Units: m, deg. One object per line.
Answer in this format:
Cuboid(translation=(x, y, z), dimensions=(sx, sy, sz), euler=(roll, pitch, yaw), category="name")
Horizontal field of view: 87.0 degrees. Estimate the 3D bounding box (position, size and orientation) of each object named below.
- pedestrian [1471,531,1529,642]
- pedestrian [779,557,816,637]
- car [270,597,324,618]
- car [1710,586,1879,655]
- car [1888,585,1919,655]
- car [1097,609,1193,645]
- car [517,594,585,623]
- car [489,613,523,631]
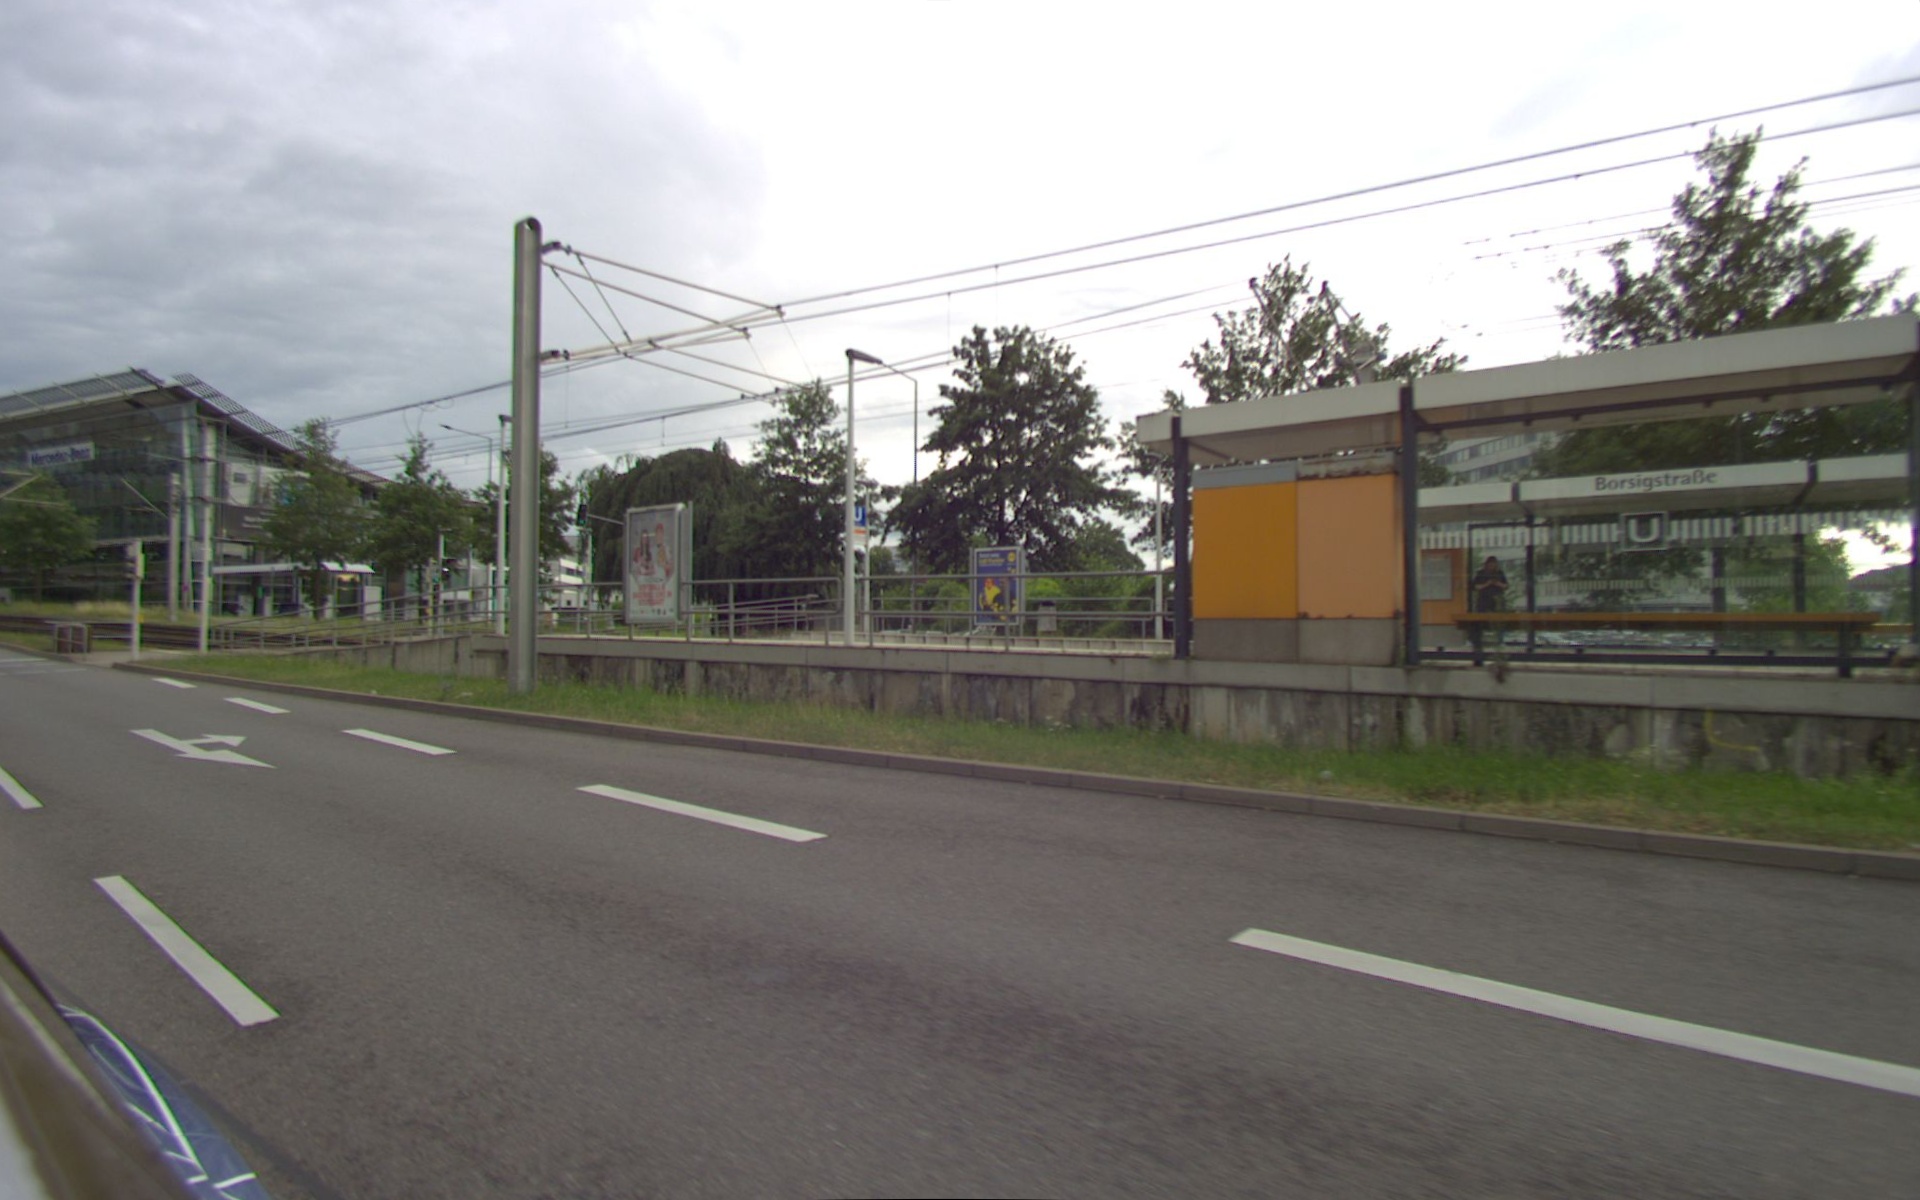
Cuboid(translation=(9.340, -0.237, 17.511), dimensions=(0.749, 1.868, 0.631), euler=(3, 1, 36), category="pedestrian")
Cuboid(translation=(-4.073, -0.083, 25.386), dimensions=(0.662, 1.967, 0.544), euler=(2, 1, 33), category="pedestrian")
Cuboid(translation=(-64.183, 0.720, 98.049), dimensions=(3.941, 1.864, 1.896), euler=(2, 1, -3), category="car")
Cuboid(translation=(26.198, 0.613, 31.921), dimensions=(3.996, 2.029, 1.974), euler=(0, -1, 39), category="car")
Cuboid(translation=(29.527, 0.547, 29.103), dimensions=(3.996, 2.029, 1.974), euler=(-2, -2, 39), category="car")
Cuboid(translation=(8.495, 1.242, 46.699), dimensions=(3.939, 1.425, 2.002), euler=(2, 1, -5), category="car")
Cuboid(translation=(-26.257, 0.506, 64.941), dimensions=(3.983, 1.663, 1.980), euler=(3, 1, 29), category="car")
Cuboid(translation=(-50.097, 2.389, 111.565), dimensions=(3.741, 1.723, 1.761), euler=(3, 1, 36), category="car")
